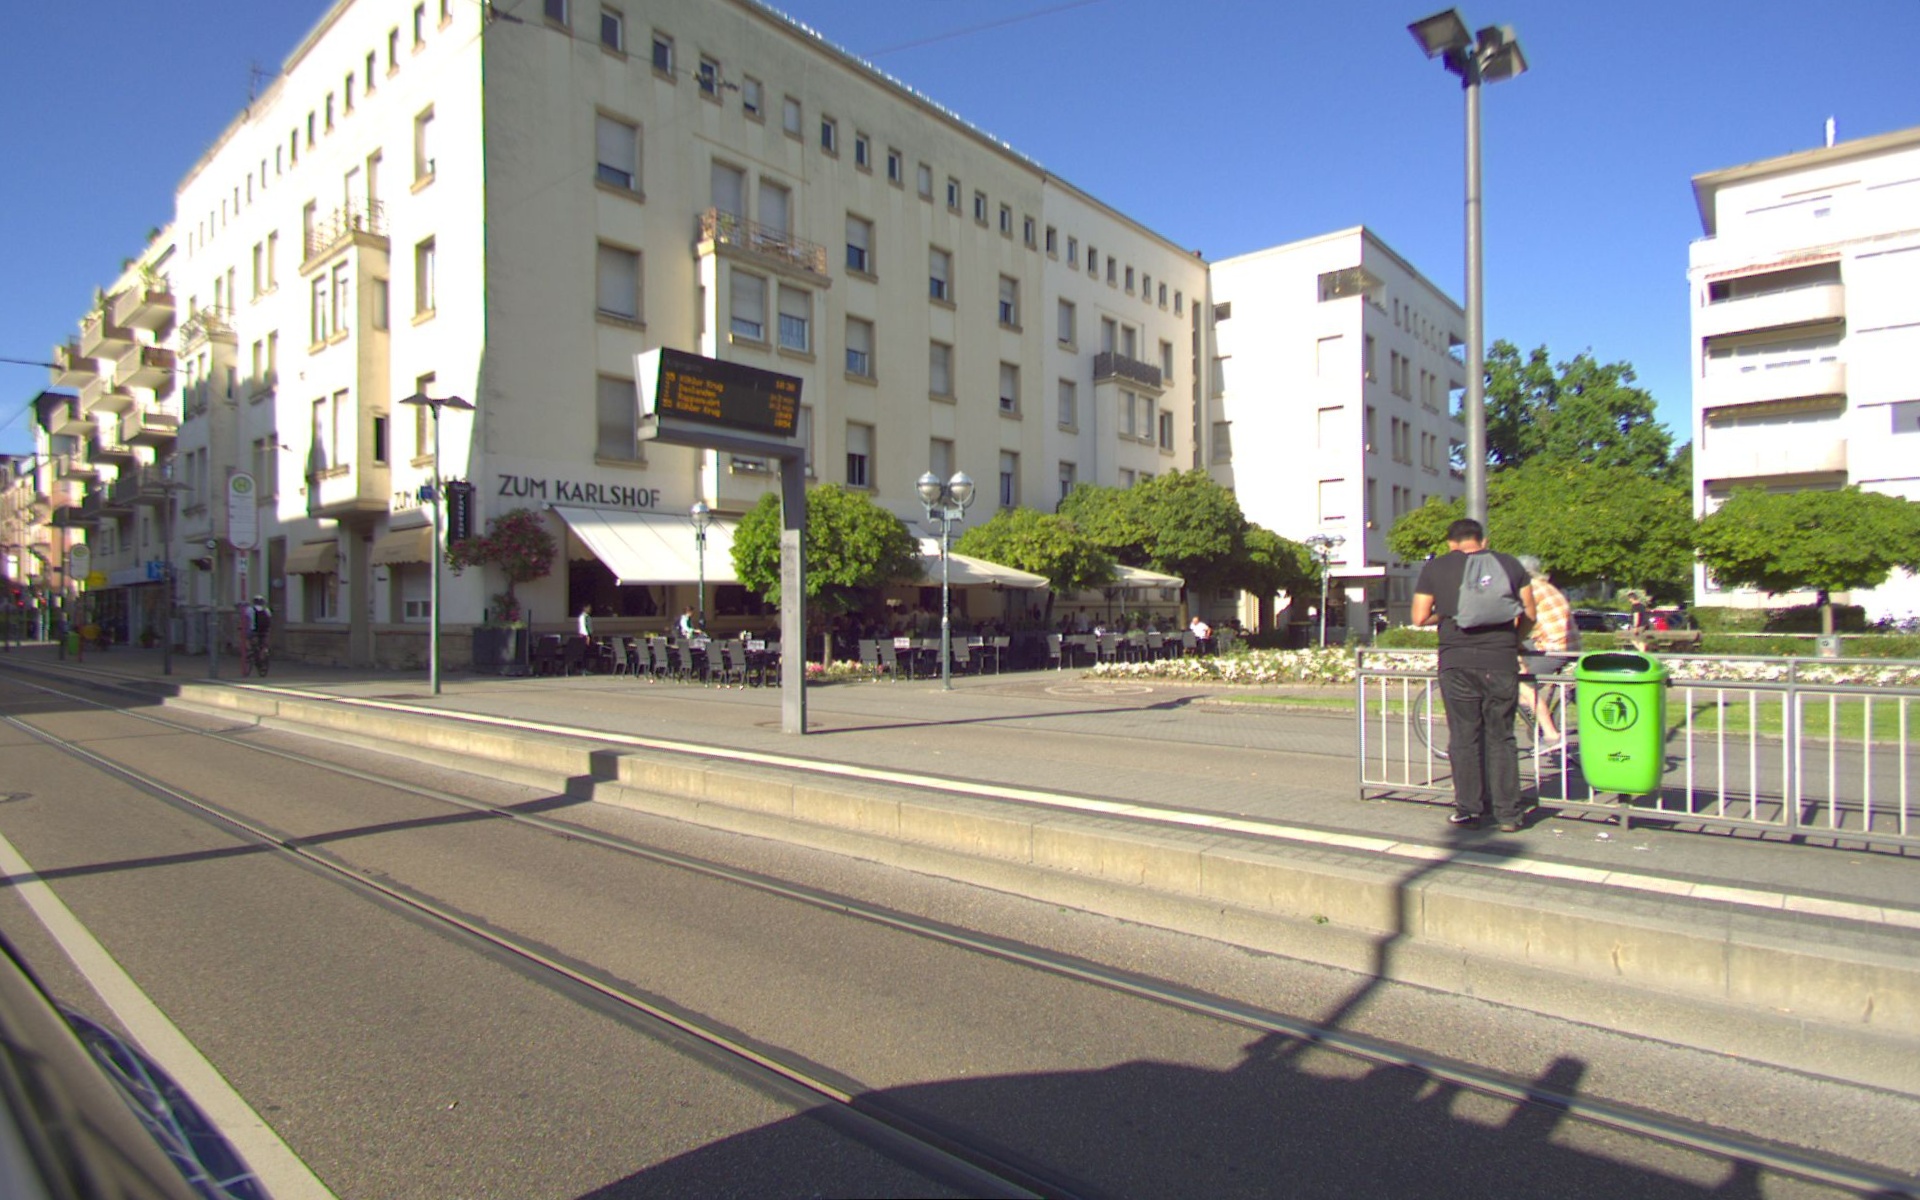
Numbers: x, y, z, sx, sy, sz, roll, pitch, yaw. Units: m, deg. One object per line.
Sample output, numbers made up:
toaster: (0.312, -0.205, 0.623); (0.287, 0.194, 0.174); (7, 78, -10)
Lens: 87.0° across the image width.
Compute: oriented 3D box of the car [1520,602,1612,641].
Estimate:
car: (24.143, 0.871, 40.353); (2.932, 1.497, 1.399); (-1, -1, 41)

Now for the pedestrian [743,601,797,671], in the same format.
pedestrian: (-4.691, 0.899, 24.952); (0.755, 1.657, 1.054); (-5, -5, 36)

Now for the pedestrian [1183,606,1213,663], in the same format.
pedestrian: (7.538, 1.105, 32.055); (0.710, 1.750, 0.673); (-2, -4, 1)

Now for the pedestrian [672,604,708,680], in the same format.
pedestrian: (-6.045, 0.956, 22.691); (0.663, 1.657, 0.678); (-1, -4, -7)

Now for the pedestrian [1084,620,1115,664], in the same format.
pedestrian: (4.223, 1.282, 30.630); (0.672, 1.280, 0.636); (-5, -5, 36)

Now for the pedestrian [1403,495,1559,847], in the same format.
pedestrian: (2.774, 0.360, 5.396); (0.607, 1.731, 0.542); (-1, -3, 43)

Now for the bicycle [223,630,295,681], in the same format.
bicycle: (-16.334, 1.272, 23.566); (2.031, 1.134, 0.705); (-1, -1, 35)

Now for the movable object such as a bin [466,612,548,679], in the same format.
movable object such as a bin: (-10.002, 0.982, 22.372); (1.127, 1.410, 1.302); (-1, -1, 40)

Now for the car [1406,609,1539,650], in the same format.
car: (17.604, 0.995, 34.794); (3.713, 1.310, 1.973); (-1, -1, 41)

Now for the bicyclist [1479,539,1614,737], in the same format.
bicyclist: (4.655, 0.279, 8.063); (0.874, 1.466, 0.822); (-1, 0, 30)

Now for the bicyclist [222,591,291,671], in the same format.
bicyclist: (-16.357, 0.719, 23.542); (1.092, 1.807, 0.996); (-1, -1, 33)

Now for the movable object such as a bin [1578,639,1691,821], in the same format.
movable object such as a bin: (3.437, 0.640, 5.156); (0.416, 0.866, 0.332); (-2, -1, 44)

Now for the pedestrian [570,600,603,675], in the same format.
pedestrian: (-8.482, 0.857, 22.964); (0.662, 1.657, 0.753); (0, -4, -22)

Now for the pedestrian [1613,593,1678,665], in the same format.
pedestrian: (17.700, 0.741, 26.141); (1.177, 1.801, 1.066); (-2, -1, 45)

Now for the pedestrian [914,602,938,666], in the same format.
pedestrian: (-0.992, 0.998, 29.541); (0.641, 1.837, 0.576); (-1, -1, 5)

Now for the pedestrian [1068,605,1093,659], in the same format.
pedestrian: (4.012, 1.071, 33.563); (0.677, 1.750, 0.671); (-3, -4, 14)

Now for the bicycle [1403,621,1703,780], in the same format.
bicycle: (4.645, 0.737, 8.065); (1.969, 1.121, 0.723); (-1, -1, 31)
